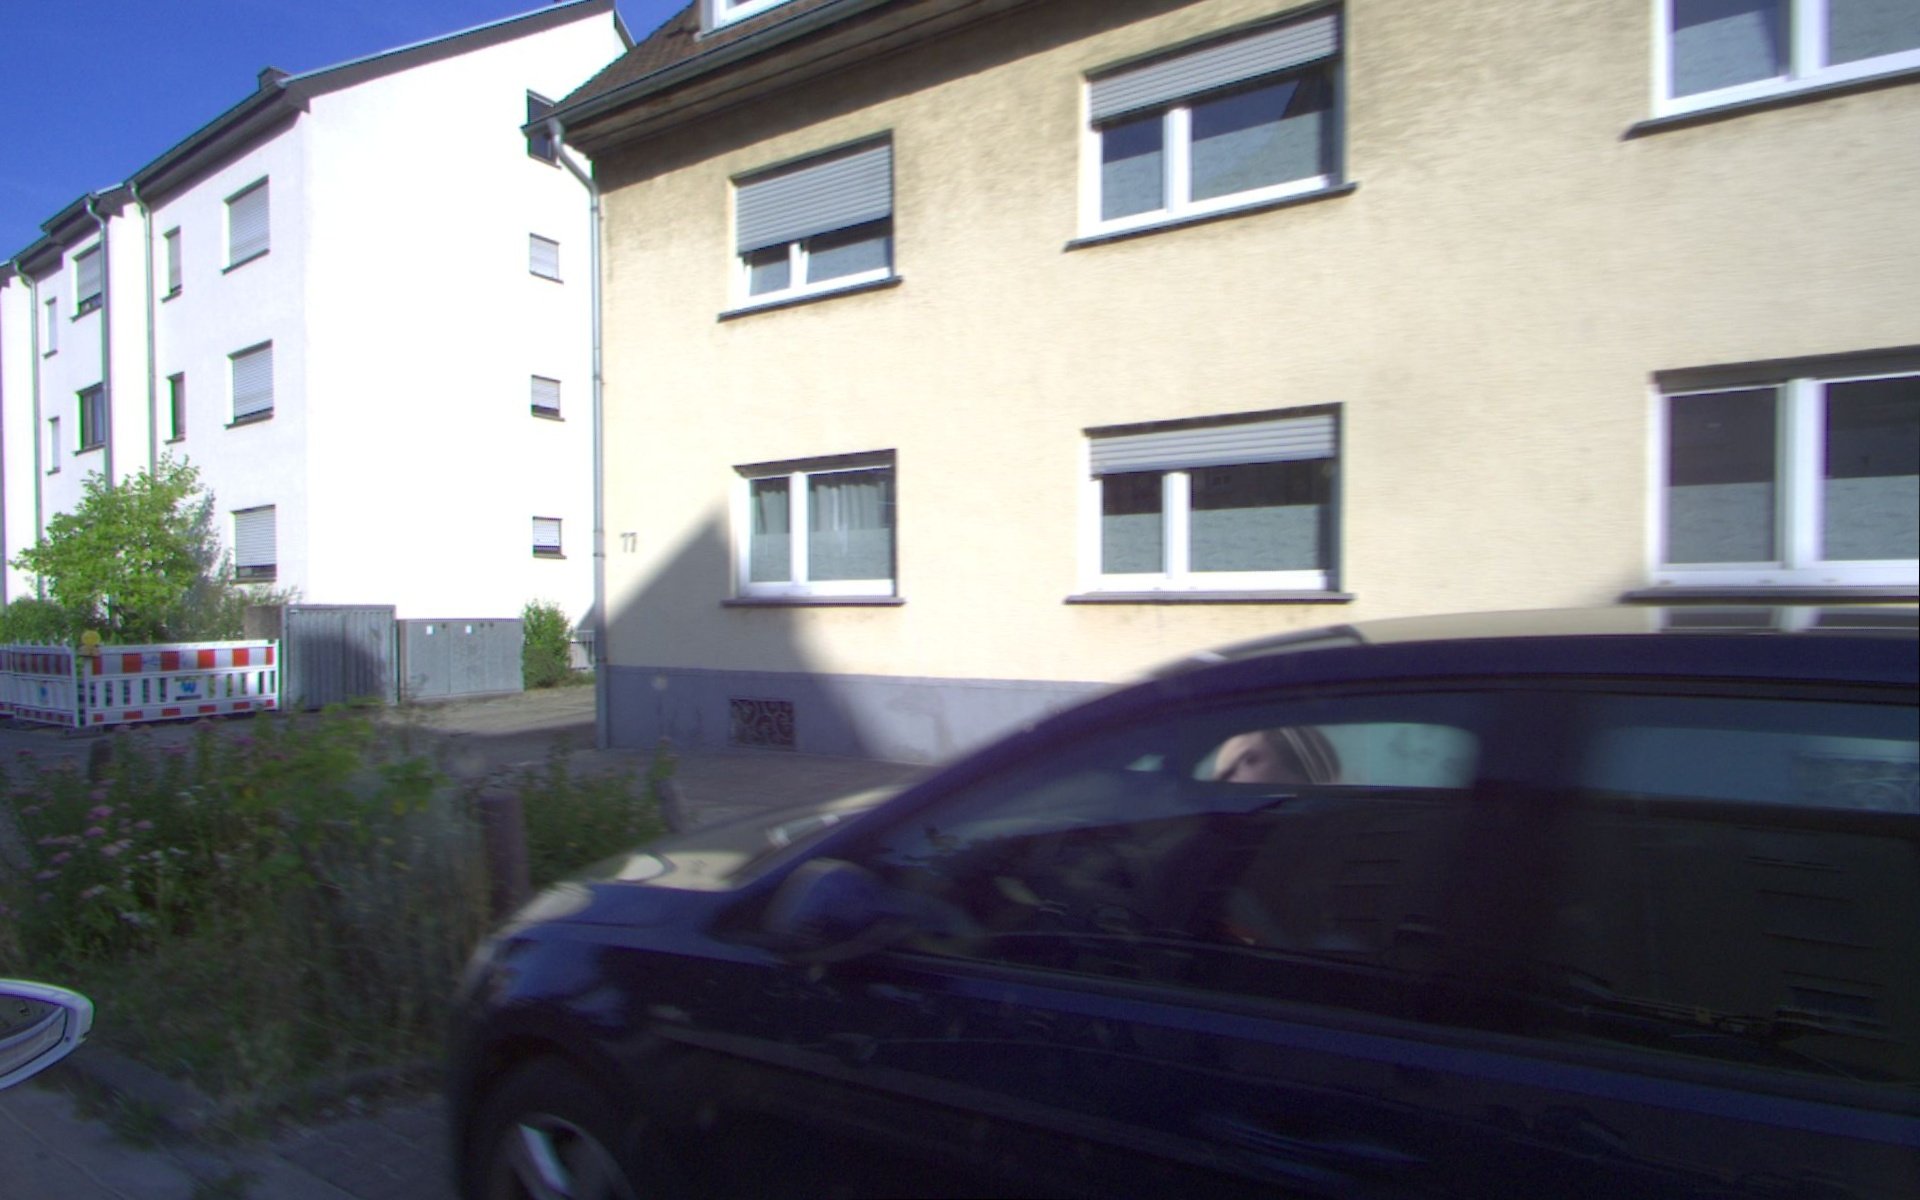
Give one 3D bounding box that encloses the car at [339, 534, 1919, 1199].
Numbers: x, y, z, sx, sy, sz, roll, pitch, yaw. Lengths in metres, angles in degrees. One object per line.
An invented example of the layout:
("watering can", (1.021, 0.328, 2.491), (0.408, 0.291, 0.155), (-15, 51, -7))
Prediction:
("car", (0.745, 0.698, 1.967), (3.886, 1.502, 1.826), (-1, 0, 32))
